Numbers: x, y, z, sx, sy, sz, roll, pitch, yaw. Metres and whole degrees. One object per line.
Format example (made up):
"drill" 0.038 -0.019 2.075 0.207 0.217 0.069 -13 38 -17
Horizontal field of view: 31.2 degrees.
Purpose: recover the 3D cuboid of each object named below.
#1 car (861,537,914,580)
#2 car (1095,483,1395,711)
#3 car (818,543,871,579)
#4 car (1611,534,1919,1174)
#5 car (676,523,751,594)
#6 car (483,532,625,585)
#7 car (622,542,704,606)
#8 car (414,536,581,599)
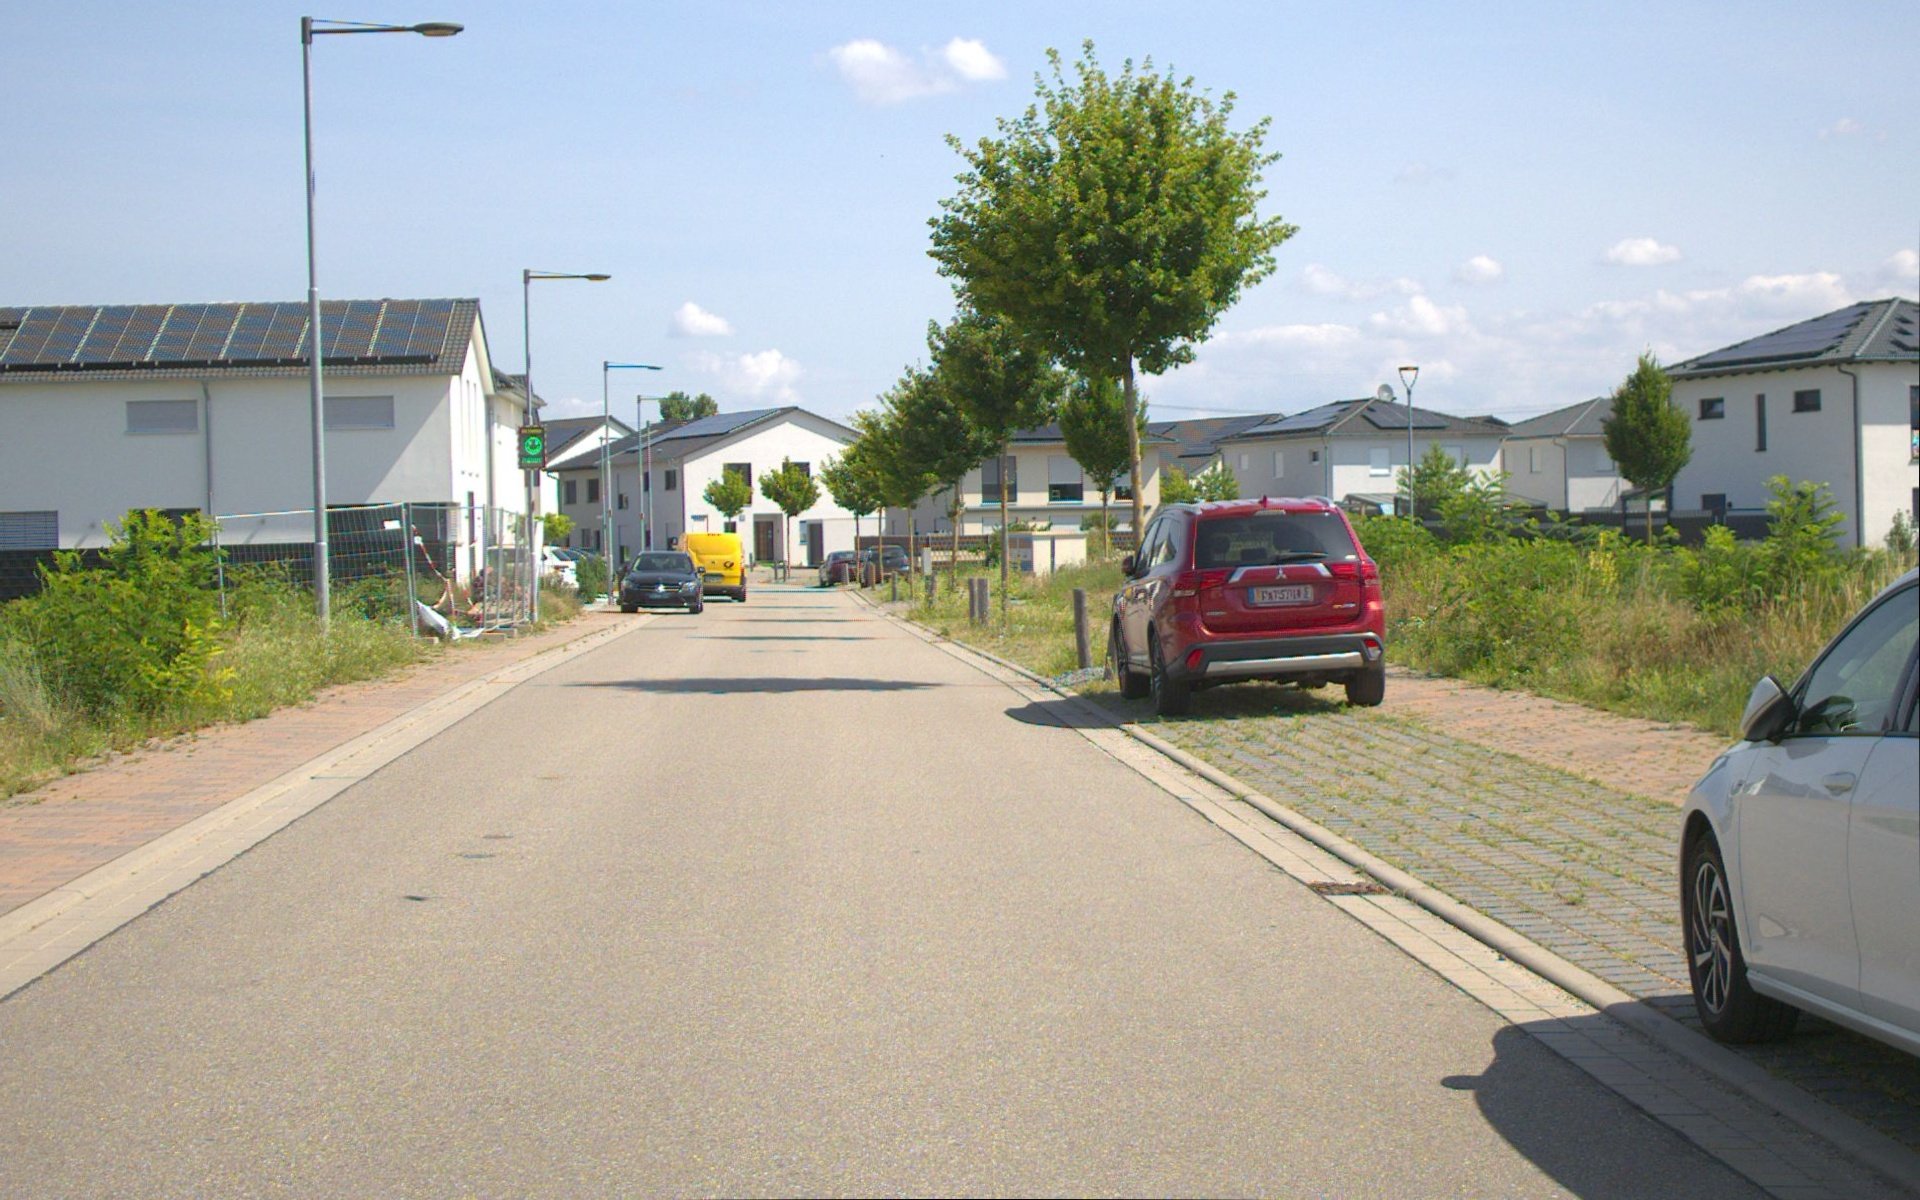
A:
"car" -2.547 -1.435 120.294 1.639 1.398 3.811 -1 -1 -4
"car" 2.249 -0.079 28.248 1.776 1.657 4.435 -2 2 -3
"car" -4.685 -1.578 138.837 1.627 1.318 3.834 -1 -1 -9
"car" 3.045 0.559 8.707 1.775 1.415 4.166 -3 2 -2
"car" -7.192 -1.197 100.006 1.941 1.975 4.218 -1 0 -7
"car" -13.054 -1.323 110.501 4.159 1.499 1.816 3 0 -18
"car" -6.868 -0.619 79.816 1.745 1.400 4.160 1 1 -3
"car" -12.109 -0.863 90.148 4.069 1.576 1.784 0 2 3
